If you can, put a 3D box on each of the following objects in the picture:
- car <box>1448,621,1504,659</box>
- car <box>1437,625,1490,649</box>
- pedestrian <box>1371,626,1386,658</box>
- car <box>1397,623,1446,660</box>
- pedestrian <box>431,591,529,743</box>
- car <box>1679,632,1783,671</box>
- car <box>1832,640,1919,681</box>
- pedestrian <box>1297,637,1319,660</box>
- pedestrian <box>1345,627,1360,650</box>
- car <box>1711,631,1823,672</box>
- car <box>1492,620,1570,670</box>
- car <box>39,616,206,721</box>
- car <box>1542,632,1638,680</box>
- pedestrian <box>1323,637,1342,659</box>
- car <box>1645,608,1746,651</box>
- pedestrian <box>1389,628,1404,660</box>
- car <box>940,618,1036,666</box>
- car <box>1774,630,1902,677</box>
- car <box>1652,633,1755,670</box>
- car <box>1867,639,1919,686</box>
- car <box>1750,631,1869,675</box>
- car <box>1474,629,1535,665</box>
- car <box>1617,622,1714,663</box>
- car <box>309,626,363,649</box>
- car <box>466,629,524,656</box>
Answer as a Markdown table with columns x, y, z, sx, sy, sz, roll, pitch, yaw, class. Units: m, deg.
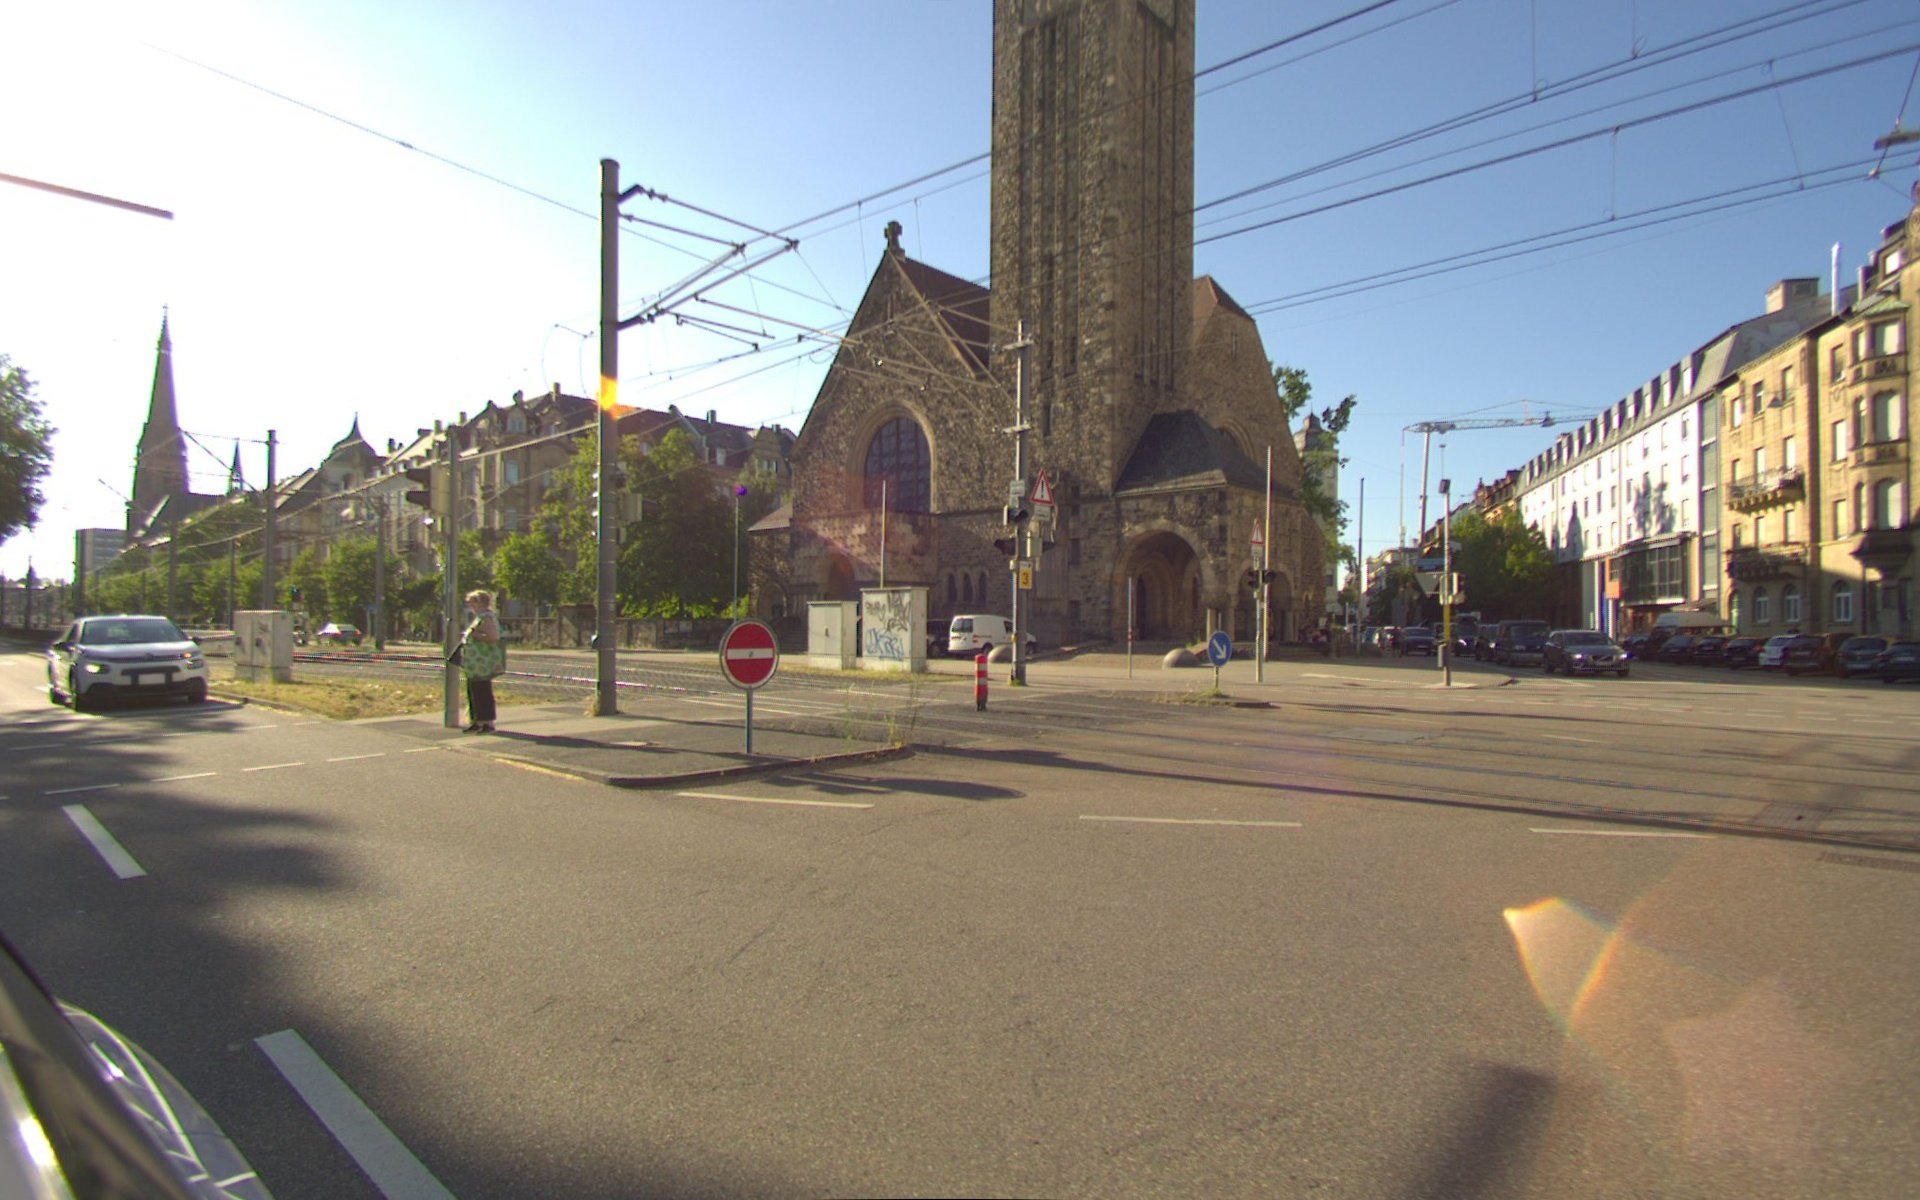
| x | y | z | sx | sy | sz | roll | pitch | yaw | class |
| --- | --- | --- | --- | --- | --- | --- | --- | --- | --- |
| 28.541 | 2.166 | 56.105 | 1.984 | 1.882 | 4.879 | -1 | 0 | 18 | car |
| 45.351 | 3.323 | 91.171 | 3.934 | 1.918 | 1.790 | -2 | -4 | -12 | car |
| 22.055 | 2.208 | 53.354 | 0.650 | 1.633 | 0.463 | -1 | 1 | 32 | pedestrian |
| 26.277 | 2.322 | 57.736 | 1.984 | 1.882 | 4.879 | -1 | 0 | 18 | car |
| -5.435 | 0.725 | 11.462 | 0.924 | 1.633 | 0.670 | -1 | 0 | 40 | pedestrian |
| 34.730 | 2.330 | 45.584 | 3.931 | 1.532 | 1.854 | -1 | -4 | -22 | car |
| 31.892 | 2.043 | 34.554 | 3.725 | 1.220 | 1.595 | -1 | -4 | -22 | car |
| 18.462 | 2.582 | 53.651 | 0.753 | 1.136 | 0.786 | -3 | 1 | -21 | pedestrian |
| 29.413 | 2.892 | 75.827 | 0.917 | 1.633 | 0.851 | -1 | 0 | 18 | pedestrian |
| 34.043 | 2.174 | 42.698 | 3.931 | 1.532 | 1.854 | -1 | -4 | -22 | car |
| 24.062 | 1.848 | 42.808 | 1.984 | 1.882 | 4.462 | -1 | 0 | 19 | car |
| -14.003 | 1.039 | 16.847 | 4.000 | 1.511 | 1.615 | -1 | 0 | 43 | car |
| 21.608 | 1.876 | 34.866 | 1.828 | 1.430 | 4.260 | -1 | 0 | 19 | car |
| 19.939 | 2.555 | 54.213 | 0.641 | 1.136 | 0.702 | -3 | 1 | -38 | pedestrian |
| 36.855 | 1.487 | 50.736 | 3.934 | 1.918 | 1.790 | -2 | -4 | -12 | car |
| 22.822 | 2.289 | 52.869 | 0.649 | 1.633 | 0.463 | -1 | 0 | 29 | pedestrian |
| 1.215 | 1.694 | 42.380 | 1.870 | 1.819 | 3.971 | -1 | 0 | 43 | car |
| 32.285 | 1.971 | 37.218 | 3.931 | 1.532 | 1.854 | -1 | -4 | -22 | car |
| 35.328 | 2.457 | 48.103 | 3.932 | 1.532 | 1.854 | -2 | -4 | -18 | car |
| 30.894 | 1.901 | 31.747 | 3.931 | 1.366 | 2.006 | -1 | -4 | -22 | car |
| 33.752 | 2.115 | 40.230 | 3.931 | 1.532 | 1.854 | -1 | -4 | -22 | car |
| 26.004 | 2.207 | 48.477 | 1.827 | 1.514 | 4.314 | -1 | 0 | 19 | car |
| 36.907 | 2.211 | 52.980 | 3.934 | 1.918 | 1.790 | -2 | -4 | -12 | car |
| -42.191 | 2.518 | 68.338 | 4.554 | 1.438 | 1.971 | -1 | -3 | 43 | car |
| -28.497 | 2.564 | 61.957 | 4.214 | 1.541 | 1.762 | -1 | 0 | 43 | car |
